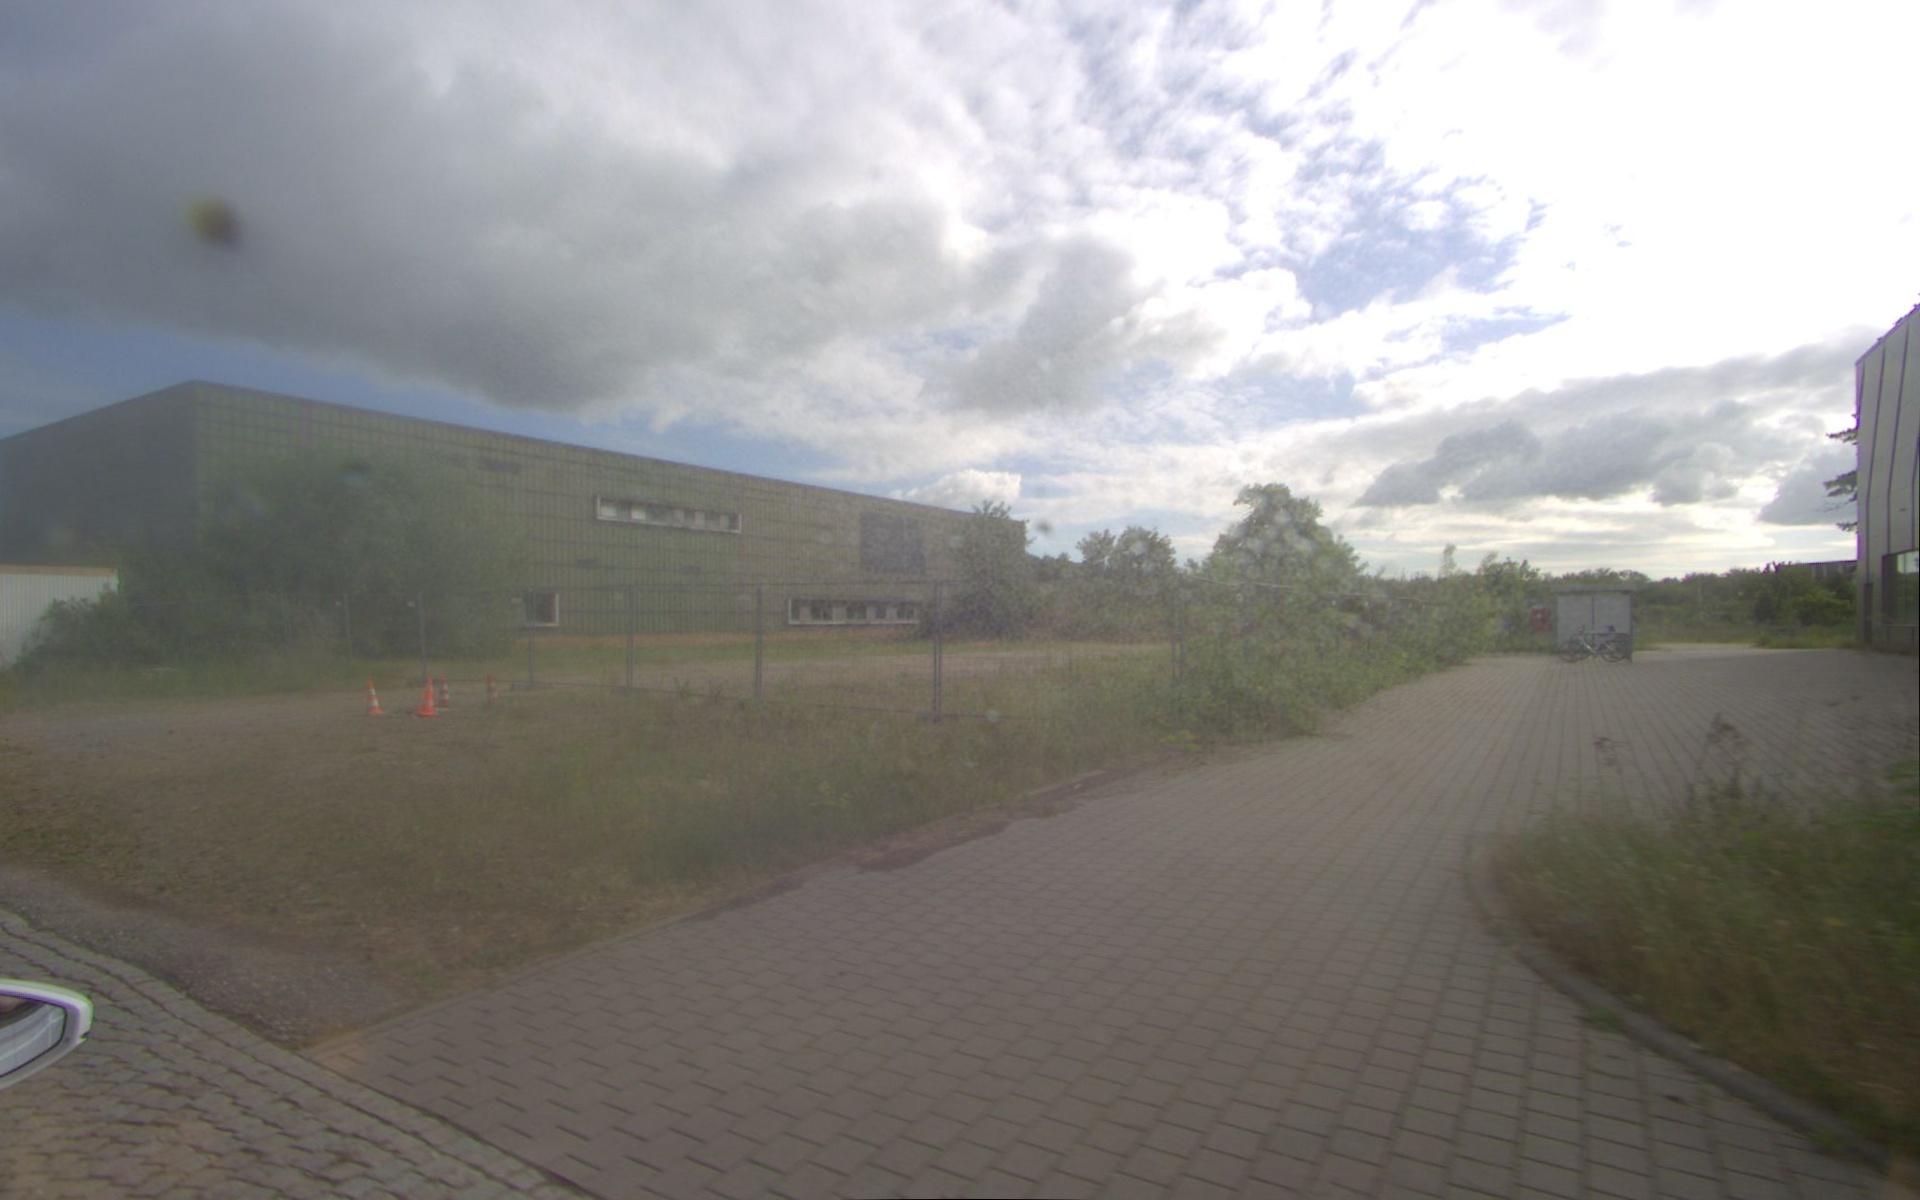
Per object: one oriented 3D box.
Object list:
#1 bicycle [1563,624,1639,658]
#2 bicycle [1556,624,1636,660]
[{"bbox_3d":[20.059,1.279,31.348,1.962,1.038,0.831,-2,-1,35],"label":"bicycle"},{"bbox_3d":[18.826,1.237,29.637,1.962,1.038,0.831,-2,-1,35],"label":"bicycle"}]
